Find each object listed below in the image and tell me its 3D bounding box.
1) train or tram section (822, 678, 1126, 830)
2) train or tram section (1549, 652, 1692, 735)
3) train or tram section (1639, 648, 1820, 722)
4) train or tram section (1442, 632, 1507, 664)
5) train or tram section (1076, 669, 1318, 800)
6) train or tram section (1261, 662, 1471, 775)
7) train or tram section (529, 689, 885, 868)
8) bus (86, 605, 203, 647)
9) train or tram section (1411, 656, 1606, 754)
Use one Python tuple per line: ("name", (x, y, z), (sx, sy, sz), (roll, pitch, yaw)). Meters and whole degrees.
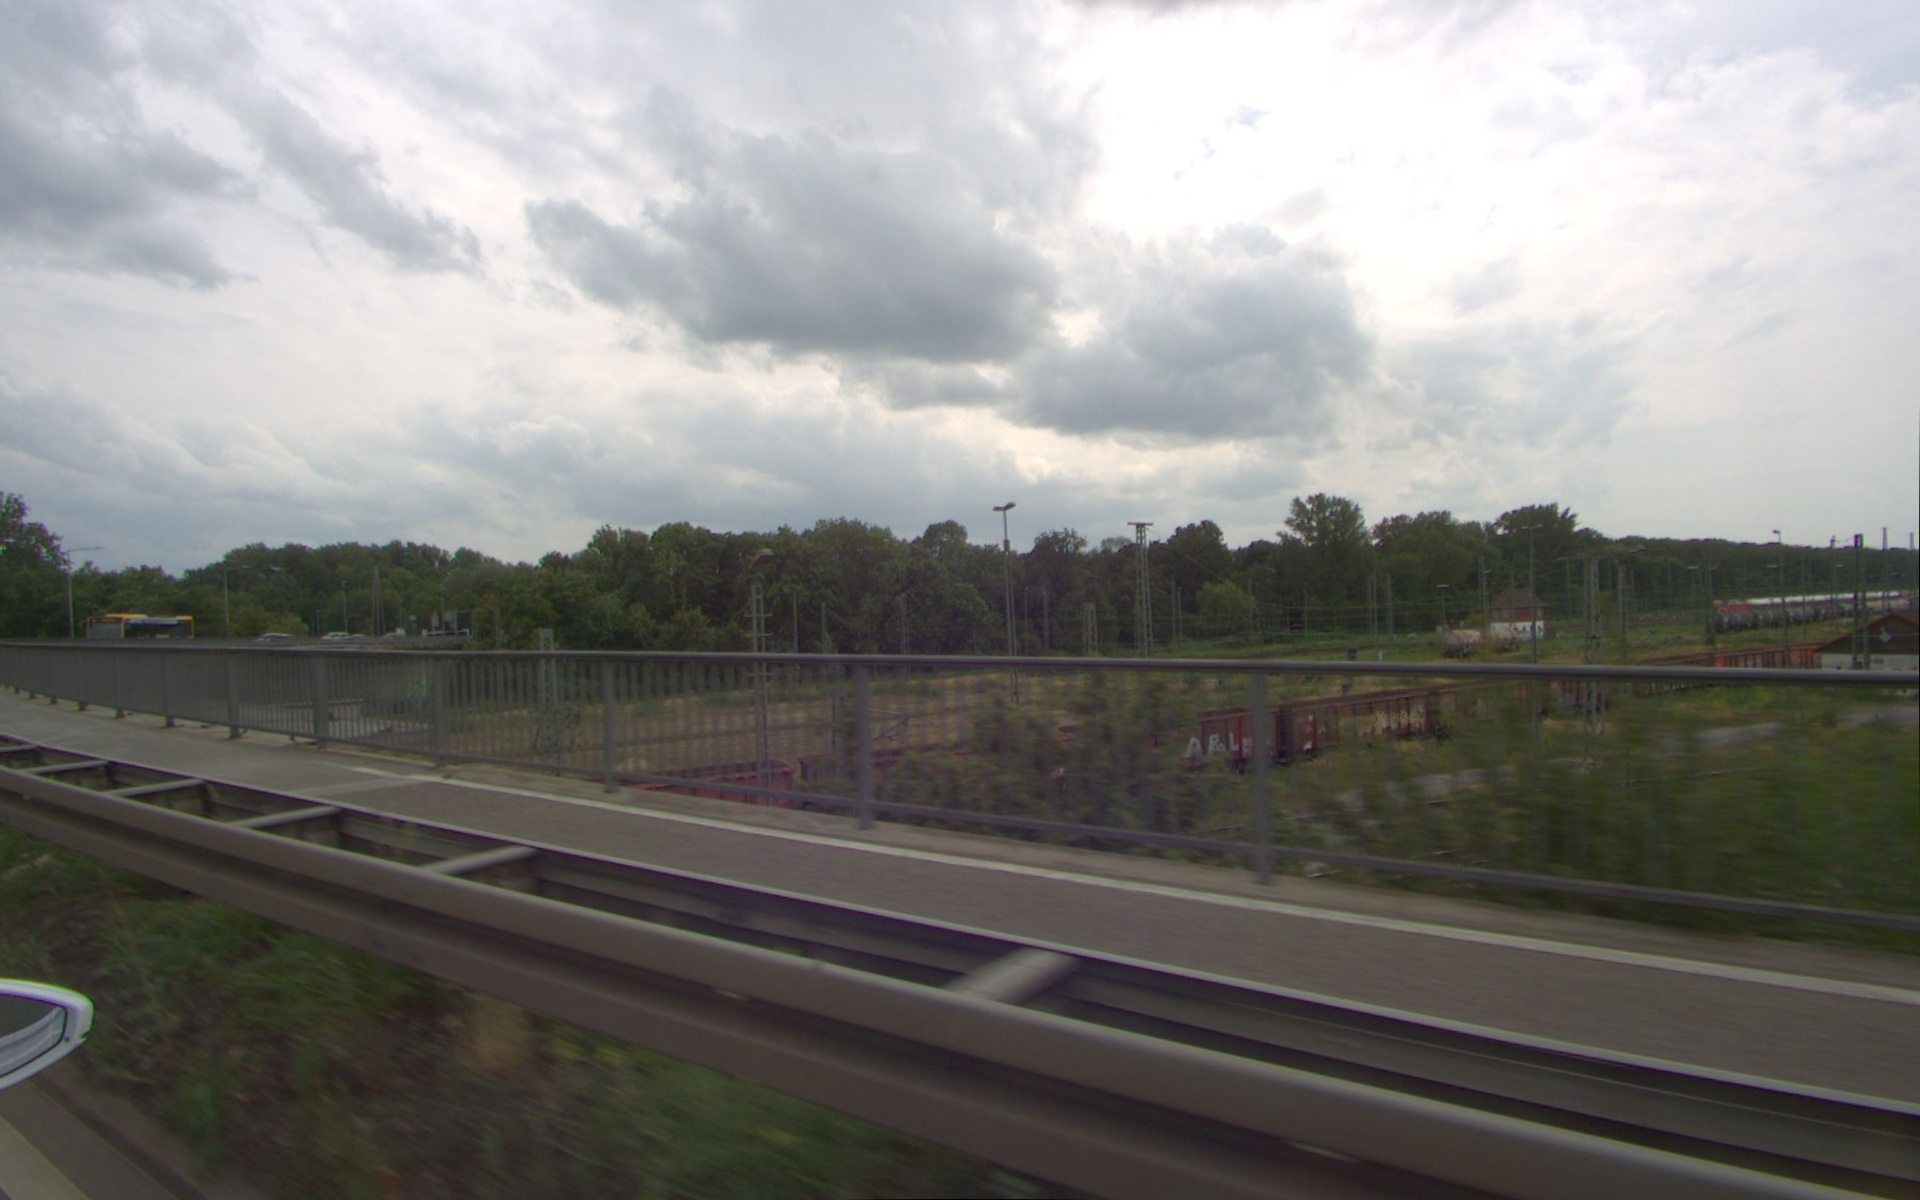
("train or tram section", (0.905, 6.745, 46.323), (14.048, 5.670, 3.642), (0, -1, -29))
("train or tram section", (52.389, 7.158, 79.122), (15.359, 5.696, 3.781), (0, -2, -34))
("train or tram section", (69.600, 7.337, 89.992), (25.333, 5.550, 3.972), (0, -2, -31))
("train or tram section", (72.522, 6.686, 140.971), (11.239, 4.221, 3.232), (1, -2, -35))
("train or tram section", (12.840, 6.820, 53.231), (13.713, 5.750, 3.824), (0, -1, -31))
("train or tram section", (24.901, 6.892, 60.766), (14.811, 5.749, 3.955), (0, -2, -33))
("train or tram section", (-9.891, 6.757, 40.390), (13.454, 5.645, 3.635), (0, -1, -30))
("bus", (-68.951, 2.251, 85.148), (2.988, 3.274, 12.933), (0, -2, -17))
("train or tram section", (38.594, 7.031, 69.871), (18.032, 5.714, 3.937), (0, -2, -33))
